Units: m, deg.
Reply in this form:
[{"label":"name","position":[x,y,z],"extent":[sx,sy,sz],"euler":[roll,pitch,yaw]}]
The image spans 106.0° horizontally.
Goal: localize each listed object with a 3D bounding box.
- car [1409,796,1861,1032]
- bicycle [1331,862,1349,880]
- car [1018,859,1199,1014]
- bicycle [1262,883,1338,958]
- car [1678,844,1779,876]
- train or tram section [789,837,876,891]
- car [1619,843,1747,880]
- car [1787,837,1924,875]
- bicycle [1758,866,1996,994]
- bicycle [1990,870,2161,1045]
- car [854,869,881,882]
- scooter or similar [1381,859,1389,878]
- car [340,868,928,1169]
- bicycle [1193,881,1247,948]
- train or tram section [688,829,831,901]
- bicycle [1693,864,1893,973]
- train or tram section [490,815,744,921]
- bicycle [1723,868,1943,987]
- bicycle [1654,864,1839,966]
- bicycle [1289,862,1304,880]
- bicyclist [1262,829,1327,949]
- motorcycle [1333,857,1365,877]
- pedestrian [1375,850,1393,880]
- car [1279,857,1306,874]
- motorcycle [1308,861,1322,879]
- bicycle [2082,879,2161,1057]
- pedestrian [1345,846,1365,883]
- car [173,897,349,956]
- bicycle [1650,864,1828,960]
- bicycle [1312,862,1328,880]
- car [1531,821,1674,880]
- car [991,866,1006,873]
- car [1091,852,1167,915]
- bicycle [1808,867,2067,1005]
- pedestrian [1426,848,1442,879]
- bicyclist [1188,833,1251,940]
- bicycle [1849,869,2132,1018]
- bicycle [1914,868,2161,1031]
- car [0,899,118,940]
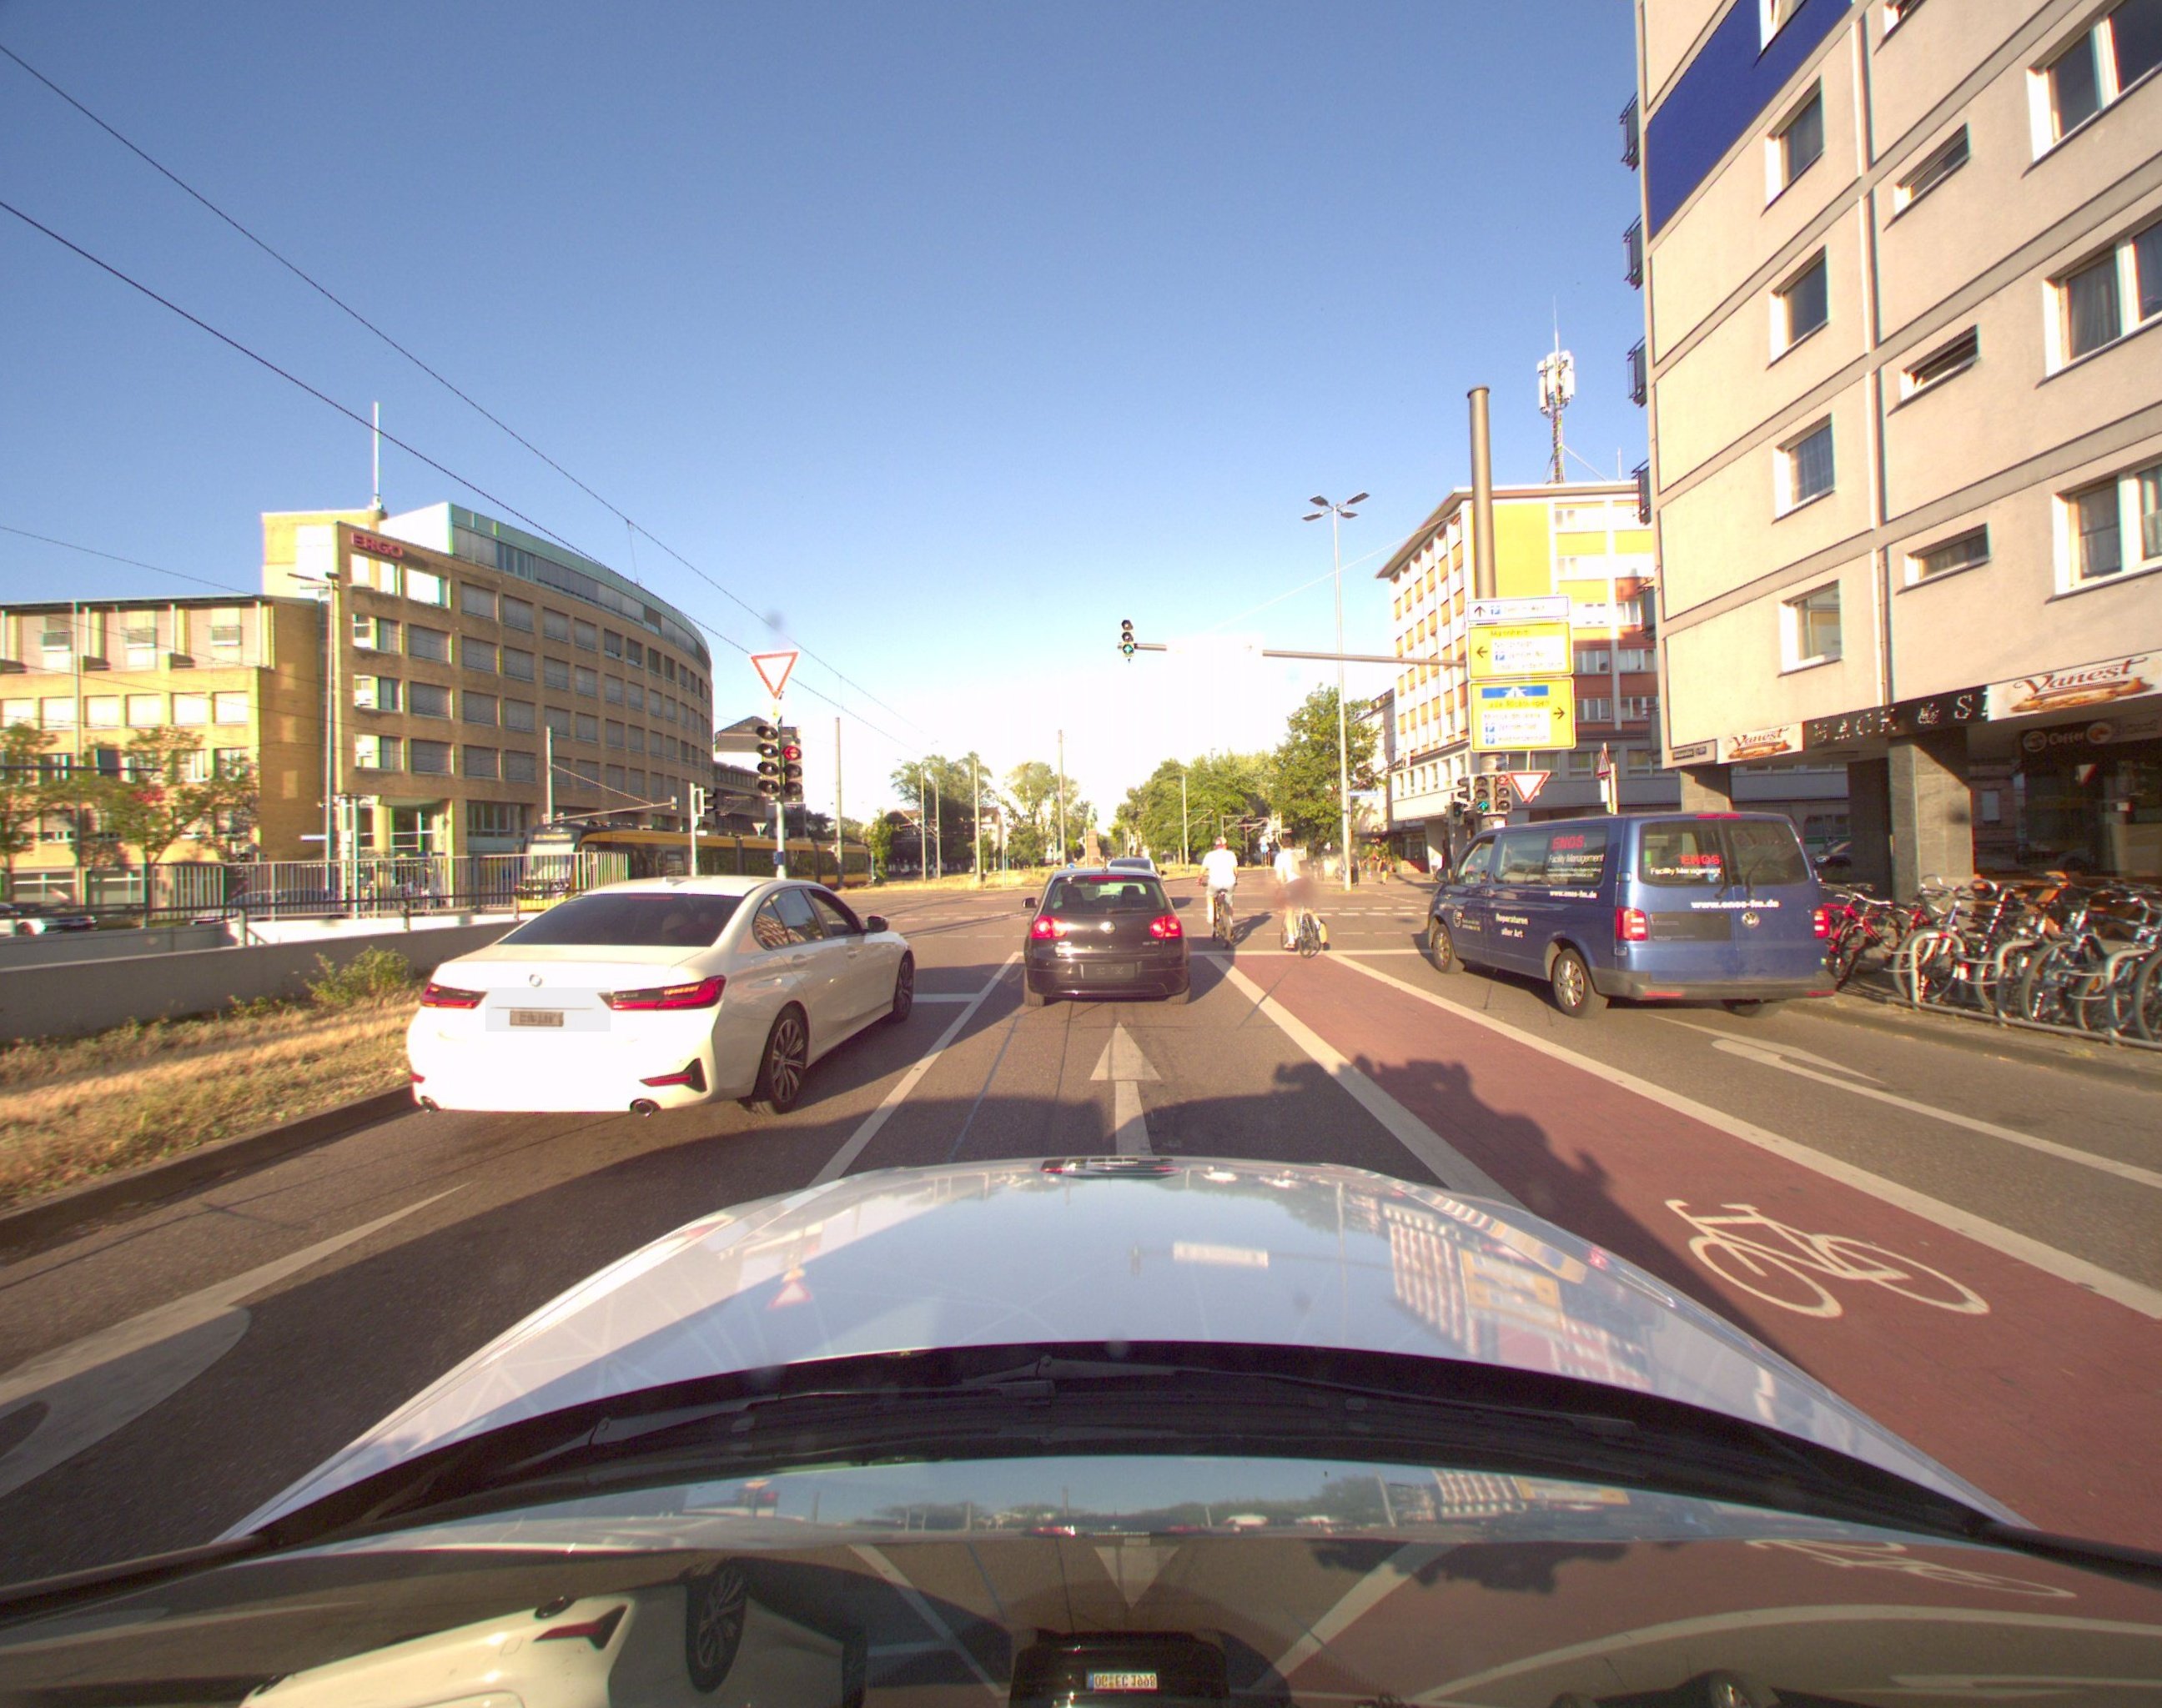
[{"label":"car","position":[5.609,0.522,9.251],"extent":[1.929,1.933,4.834],"euler":[-2,-1,2]},{"label":"bicycle","position":[17.317,1.113,54.531],"extent":[0.642,1.158,2.126],"euler":[-2,0,4]},{"label":"car","position":[0.191,0.817,9.967],"extent":[1.743,1.461,4.099],"euler":[-1,-1,-2]},{"label":"bicycle","position":[3.417,1.003,12.854],"extent":[0.574,1.028,1.854],"euler":[-1,-1,-4]},{"label":"car","position":[33.401,0.301,42.101],"extent":[3.746,1.510,1.758],"euler":[-2,0,3]},{"label":"train or tram section","position":[-17.951,0.724,59.752],"extent":[2.763,3.536,10.574],"euler":[-1,-1,2]},{"label":"car","position":[25.146,0.333,34.117],"extent":[3.971,1.376,1.807],"euler":[-2,-1,2]},{"label":"car","position":[32.611,0.085,34.362],"extent":[3.970,1.464,1.789],"euler":[-2,-1,3]},{"label":"bicycle","position":[8.145,0.755,8.374],"extent":[1.863,1.125,0.568],"euler":[-4,-1,-2]},{"label":"bicycle","position":[8.039,0.722,6.072],"extent":[1.863,1.125,0.568],"euler":[-4,-1,-2]},{"label":"car","position":[-22.430,2.261,85.535],"extent":[1.639,1.281,3.742],"euler":[-2,0,2]},{"label":"scooter or similar","position":[20.975,0.975,56.162],"extent":[0.411,1.254,1.189],"euler":[-2,-1,22]},{"label":"car","position":[-2.629,0.839,6.290],"extent":[1.830,1.401,4.586],"euler":[1,0,2]},{"label":"bicycle","position":[2.419,1.028,14.380],"extent":[0.477,1.028,1.978],"euler":[-1,-1,-4]},{"label":"train or tram section","position":[-18.287,0.612,47.817],"extent":[2.763,3.536,13.255],"euler":[-1,-1,2]},{"label":"bicycle","position":[8.474,0.744,9.725],"extent":[1.863,1.125,0.568],"euler":[-4,-1,-2]},{"label":"train or tram section","position":[-18.639,0.537,34.509],"extent":[2.763,3.536,13.255],"euler":[-1,-1,2]},{"label":"bicycle","position":[8.225,0.781,8.949],"extent":[1.863,1.125,0.568],"euler":[-4,-1,-2]},{"label":"bicycle","position":[8.460,0.763,10.395],"extent":[1.863,1.125,0.568],"euler":[-4,-1,-2]},{"label":"bicycle","position":[14.442,1.148,54.587],"extent":[0.642,1.126,1.876],"euler":[-2,0,4]},{"label":"bicyclist","position":[3.370,0.534,12.943],"extent":[0.673,1.807,0.992],"euler":[-1,-1,-4]},{"label":"motorcycle","position":[18.993,0.916,57.679],"extent":[2.031,1.406,0.762],"euler":[-2,-1,9]},{"label":"pedestrian","position":[16.136,0.577,43.366],"extent":[0.678,1.589,0.748],"euler":[-2,-1,7]},{"label":"car","position":[20.340,1.093,78.301],"extent":[1.712,1.472,3.922],"euler":[-5,-2,25]},{"label":"motorcycle","position":[17.143,1.164,59.717],"extent":[0.662,1.242,2.206],"euler":[-2,0,9]},{"label":"bicycle","position":[8.045,0.713,5.499],"extent":[1.863,1.125,0.568],"euler":[-4,-1,-2]},{"label":"pedestrian","position":[12.982,0.511,38.562],"extent":[0.658,1.704,1.074],"euler":[-2,-1,7]},{"label":"car","position":[-25.652,2.219,25.659],"extent":[1.704,1.540,3.676],"euler":[-2,-1,3]},{"label":"bicycle","position":[8.846,0.763,10.984],"extent":[1.863,1.125,0.606],"euler":[-4,-1,-2]},{"label":"bicycle","position":[16.010,1.141,54.583],"extent":[0.642,1.126,1.876],"euler":[-2,0,4]},{"label":"car","position":[23.778,-0.150,37.275],"extent":[5.230,2.482,1.926],"euler":[-1,-1,1]},{"label":"car","position":[-19.201,3.686,190.694],"extent":[3.329,1.507,1.658],"euler":[-2,-1,-2]},{"label":"car","position":[1.445,0.764,22.870],"extent":[1.855,1.441,4.205],"euler":[-3,1,6]},{"label":"bicycle","position":[8.156,0.761,7.797],"extent":[1.863,1.125,0.568],"euler":[-4,-1,-2]},{"label":"pedestrian","position":[20.112,0.534,46.415],"extent":[0.566,1.701,0.813],"euler":[-2,-1,3]},{"label":"bicyclist","position":[2.417,0.555,14.362],"extent":[0.825,1.807,1.056],"euler":[-1,-1,-5]},{"label":"bicycle","position":[8.014,0.762,7.216],"extent":[1.863,1.125,0.568],"euler":[-4,-1,-2]},{"label":"bicycle","position":[8.027,0.748,6.644],"extent":[1.863,1.125,0.568],"euler":[-4,-1,-2]},{"label":"car","position":[-40.675,2.563,31.869],"extent":[3.968,1.420,1.905],"euler":[-2,-1,5]}]
